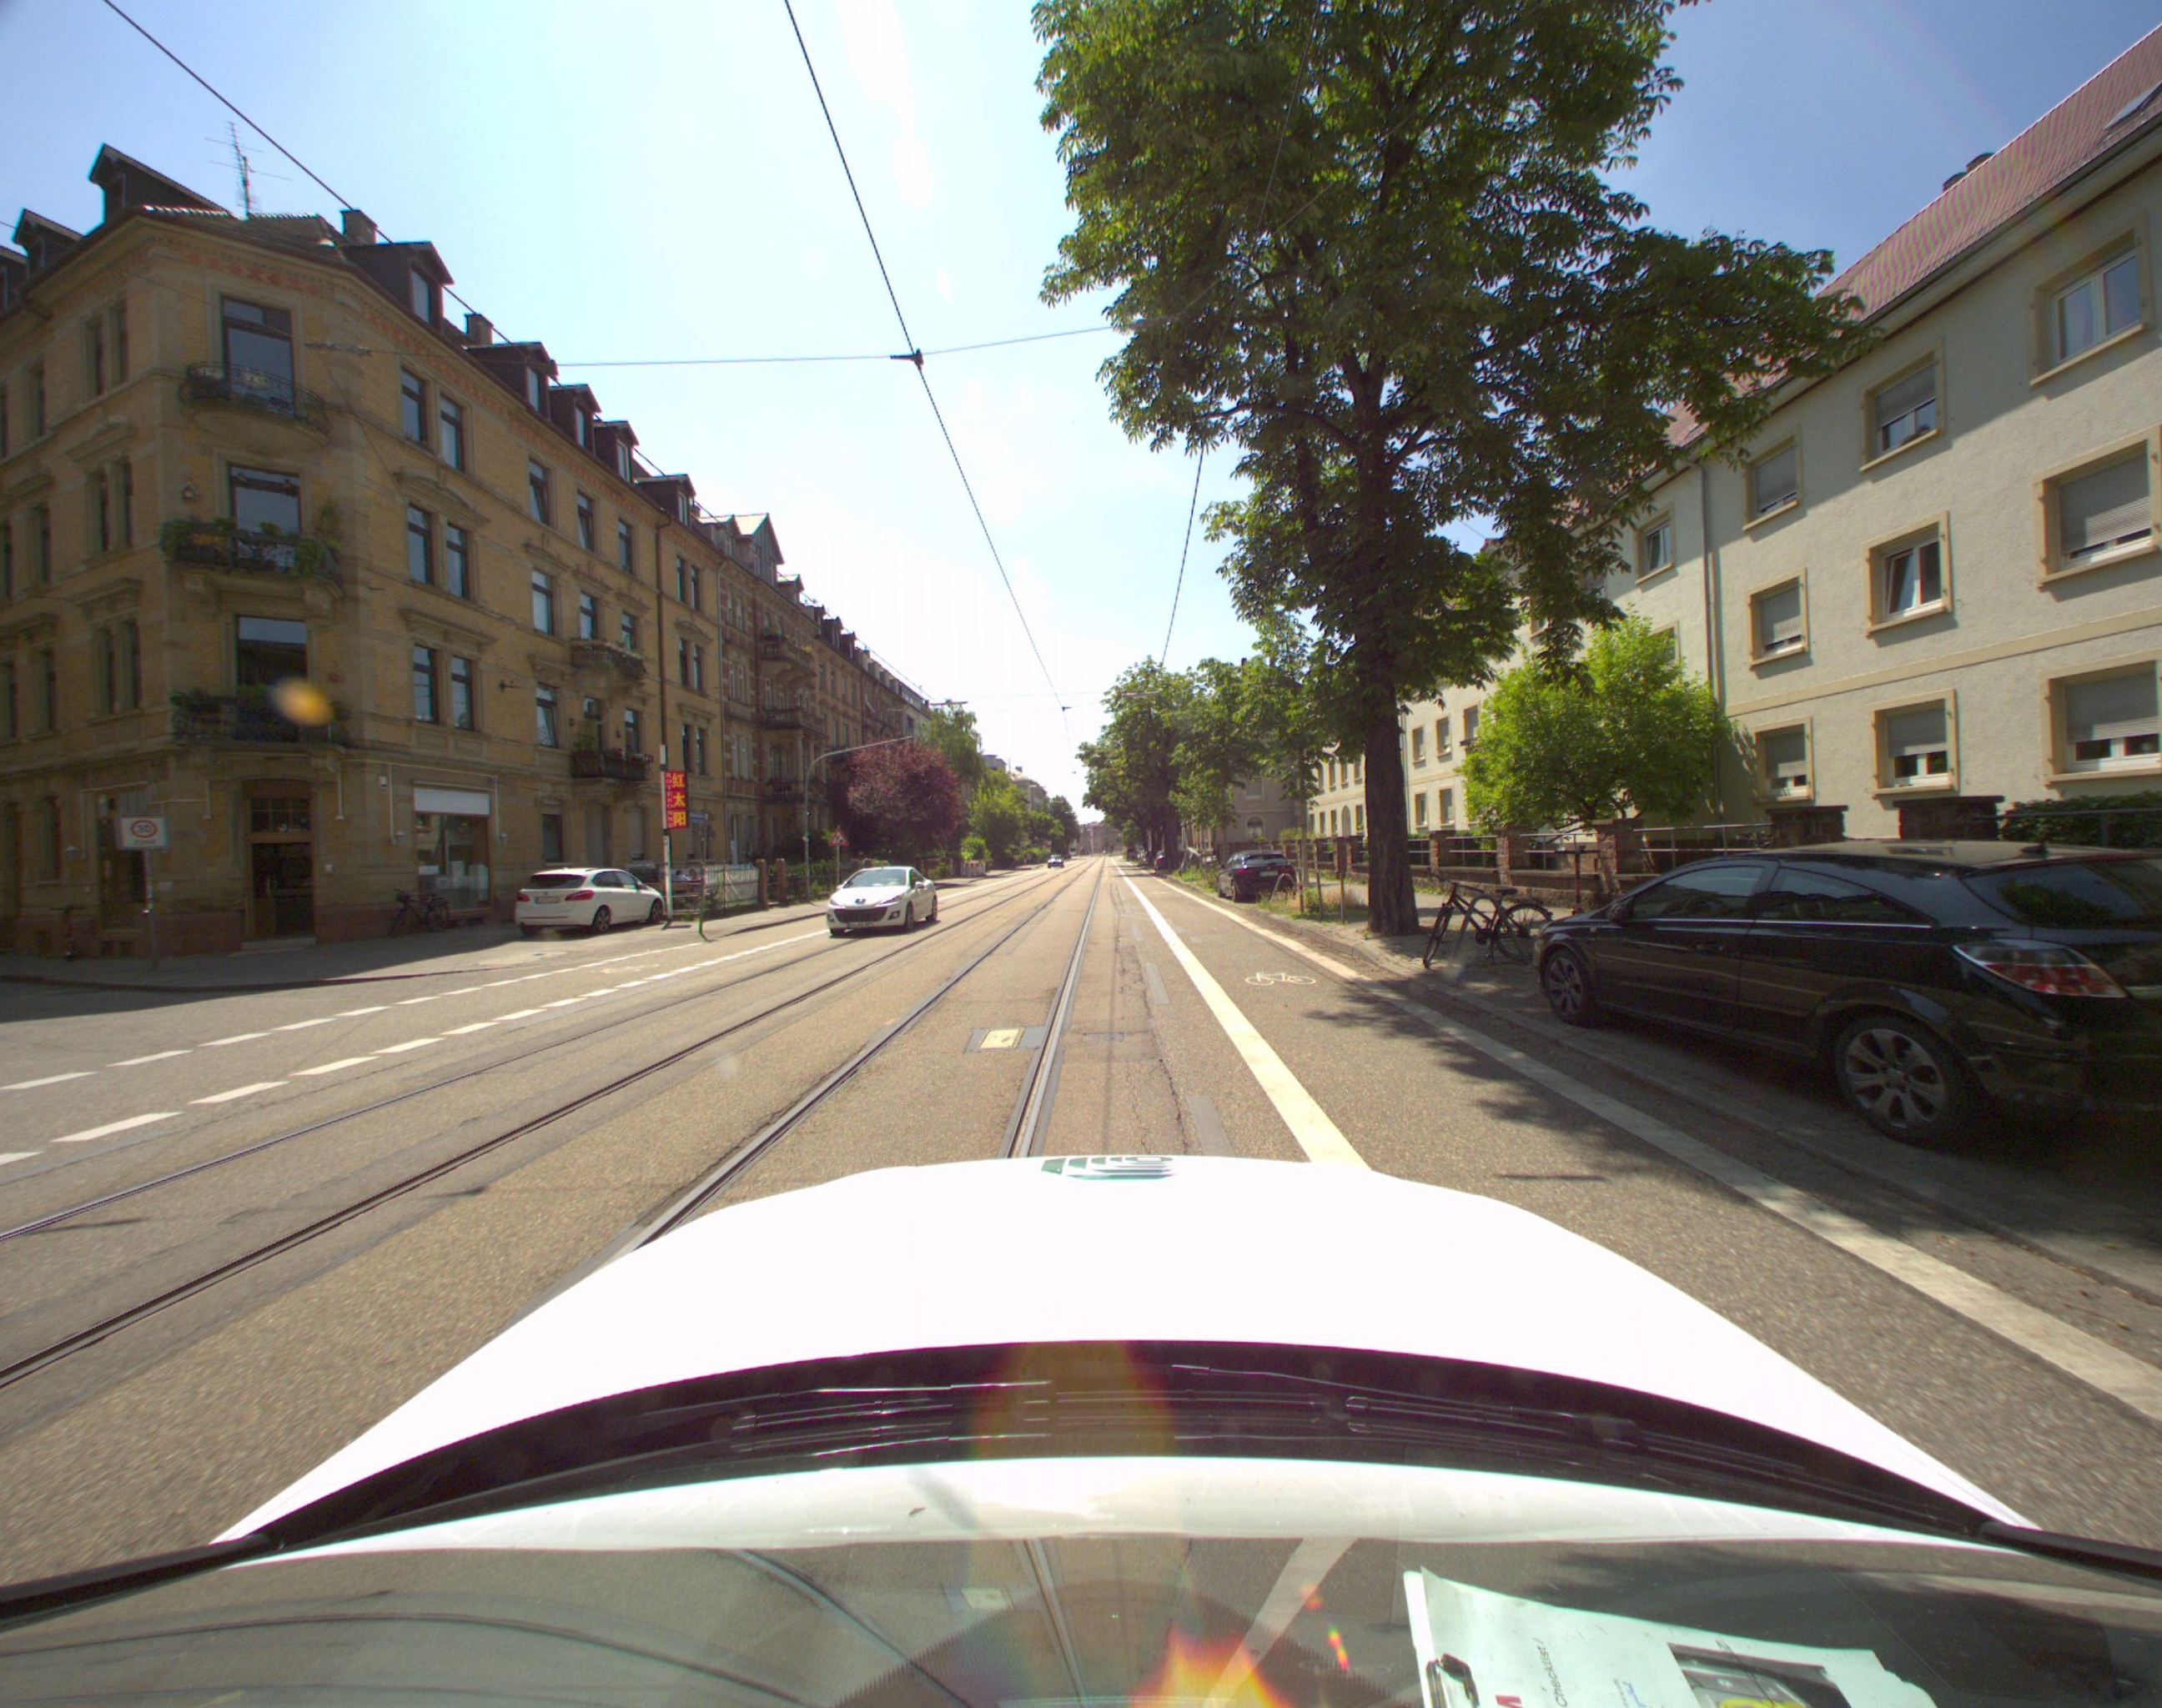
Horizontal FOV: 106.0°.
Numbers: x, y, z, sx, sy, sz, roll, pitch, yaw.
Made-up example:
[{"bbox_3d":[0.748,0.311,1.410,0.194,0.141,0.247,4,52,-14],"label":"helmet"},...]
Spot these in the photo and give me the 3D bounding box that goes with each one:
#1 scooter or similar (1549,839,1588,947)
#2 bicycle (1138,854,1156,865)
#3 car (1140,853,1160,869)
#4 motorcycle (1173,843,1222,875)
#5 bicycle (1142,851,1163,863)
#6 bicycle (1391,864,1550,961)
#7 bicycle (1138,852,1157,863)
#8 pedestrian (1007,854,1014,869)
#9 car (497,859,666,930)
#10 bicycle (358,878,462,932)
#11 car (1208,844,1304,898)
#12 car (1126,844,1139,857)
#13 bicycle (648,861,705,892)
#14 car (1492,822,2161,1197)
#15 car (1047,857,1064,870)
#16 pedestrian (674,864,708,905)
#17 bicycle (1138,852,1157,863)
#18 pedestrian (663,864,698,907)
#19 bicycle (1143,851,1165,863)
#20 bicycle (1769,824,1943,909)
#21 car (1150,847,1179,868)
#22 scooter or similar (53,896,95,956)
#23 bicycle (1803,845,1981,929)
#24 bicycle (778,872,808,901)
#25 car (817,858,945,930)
[{"bbox_3d":[6.200,0.459,10.336,0.375,1.212,1.256,-1,4,32],"label":"scooter or similar"},{"bbox_3d":[7.250,0.597,89.511,1.809,1.113,0.493,-2,-2,0],"label":"bicycle"},{"bbox_3d":[6.765,0.731,80.178,1.616,1.448,3.811,-4,-1,1],"label":"car"},{"bbox_3d":[5.705,0.231,40.068,2.291,1.540,0.874,-1,0,44],"label":"motorcycle"},{"bbox_3d":[6.619,0.299,75.588,1.879,1.052,0.539,-1,-1,8],"label":"bicycle"},{"bbox_3d":[4.683,0.686,9.840,1.650,1.078,0.605,-1,0,-6],"label":"bicycle"},{"bbox_3d":[6.985,0.398,85.362,2.001,1.113,0.640,-2,-2,3],"label":"bicycle"},{"bbox_3d":[-7.777,0.805,89.630,0.749,1.629,0.832,0,-1,-3],"label":"pedestrian"},{"bbox_3d":[-12.302,0.927,20.423,1.861,1.600,4.096,0,0,-3],"label":"car"},{"bbox_3d":[-16.369,1.207,19.949,0.635,1.187,2.147,-1,0,5],"label":"bicycle"},{"bbox_3d":[5.138,0.448,24.548,1.764,1.426,4.860,-1,0,-1],"label":"car"},{"bbox_3d":[8.486,-0.589,134.736,1.986,2.035,4.698,-1,0,2],"label":"car"},{"bbox_3d":[-13.593,0.763,27.390,1.697,1.003,0.474,-1,-1,4],"label":"bicycle"},{"bbox_3d":[4.648,0.574,5.302,1.689,1.419,4.355,-1,0,-1],"label":"car"},{"bbox_3d":[-2.832,1.058,90.856,1.680,1.454,3.749,-1,-1,1],"label":"car"},{"bbox_3d":[-12.656,0.982,26.455,0.708,1.298,0.711,-3,0,-3],"label":"pedestrian"},{"bbox_3d":[6.944,0.391,84.699,1.954,1.113,0.599,-2,-2,3],"label":"bicycle"},{"bbox_3d":[-12.625,0.980,25.698,0.708,1.298,0.711,-3,0,-3],"label":"pedestrian"},{"bbox_3d":[6.787,0.293,75.979,1.952,1.063,0.600,-1,-1,8],"label":"bicycle"},{"bbox_3d":[10.742,0.168,11.392,0.478,1.078,1.921,-1,0,-4],"label":"bicycle"},{"bbox_3d":[6.254,0.242,61.531,1.768,1.501,4.305,-2,0,1],"label":"car"},{"bbox_3d":[-22.717,1.595,18.384,1.265,1.273,0.499,-2,0,43],"label":"scooter or similar"},{"bbox_3d":[11.275,0.431,11.428,0.477,1.078,1.921,-1,0,-4],"label":"bicycle"},{"bbox_3d":[-10.401,1.159,29.451,0.452,1.003,1.805,-1,0,-2],"label":"bicycle"},{"bbox_3d":[-4.399,0.828,18.517,1.749,1.424,4.002,-2,-1,2],"label":"car"}]
